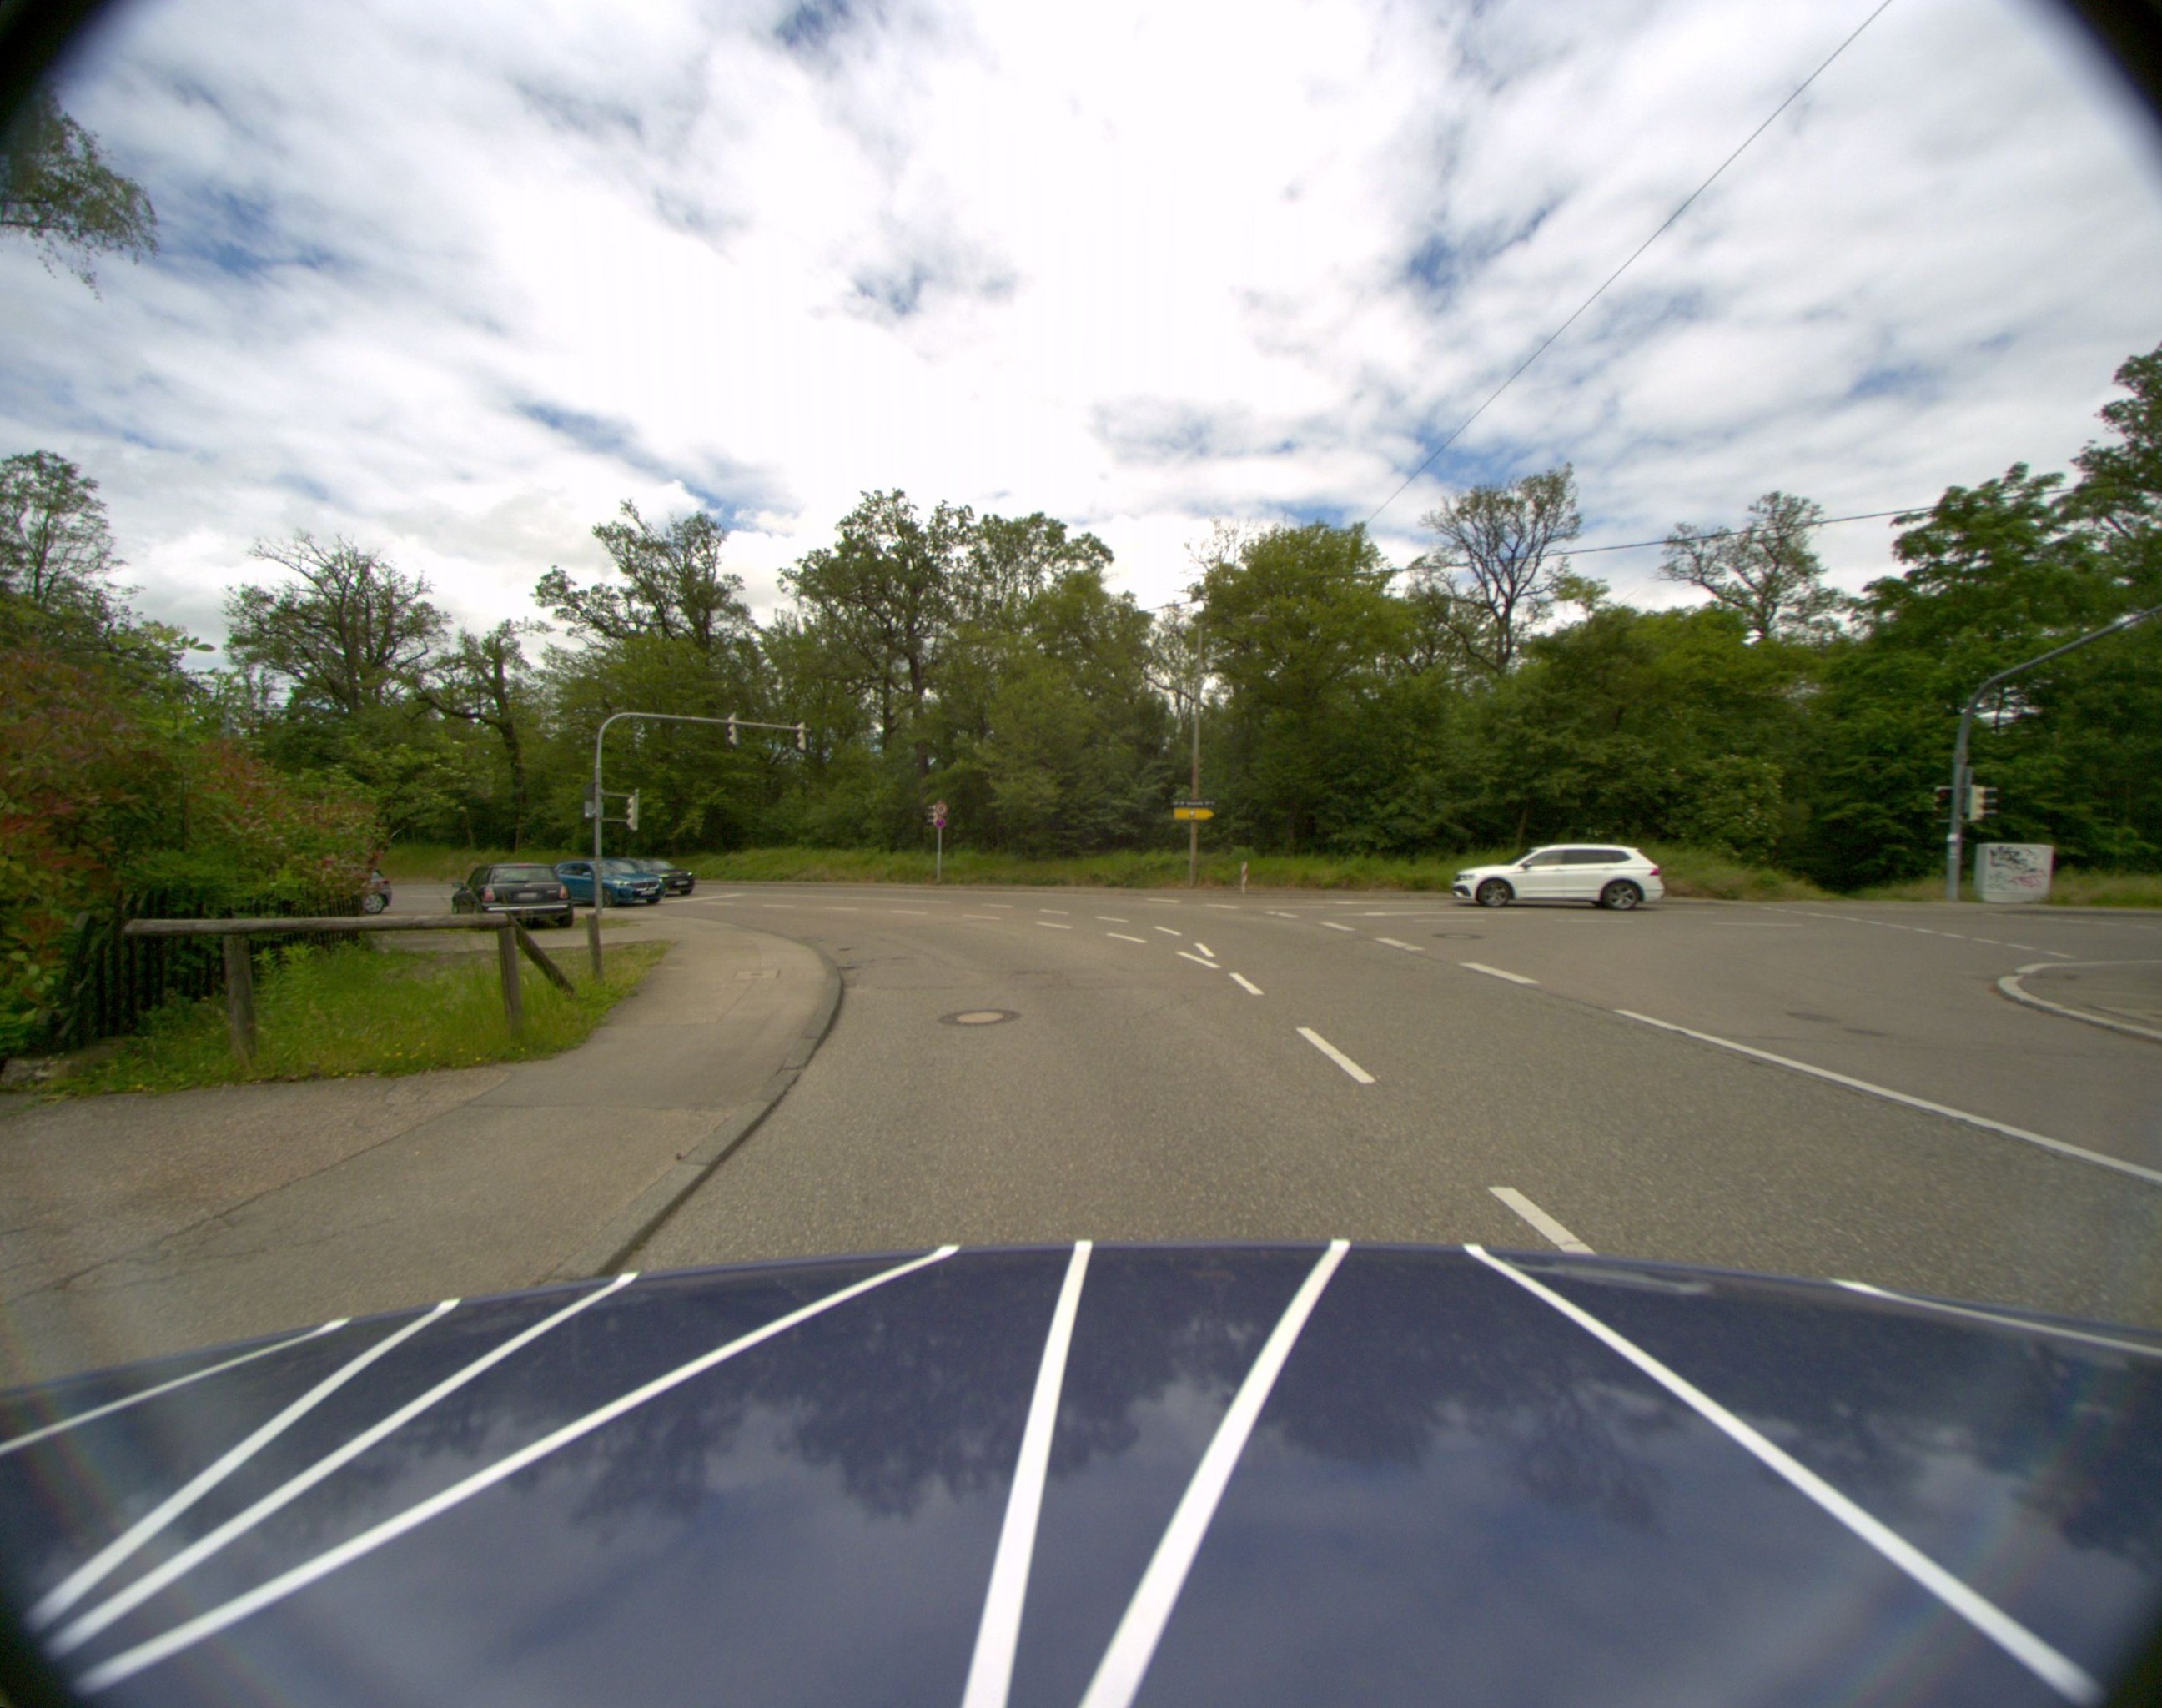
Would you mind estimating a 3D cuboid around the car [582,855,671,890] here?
[{"bbox_3d":[-21.750,0.852,36.359,3.798,1.502,1.826,0,2,27],"label":"car"}]

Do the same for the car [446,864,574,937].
[{"bbox_3d":[-12.581,0.932,16.680,3.594,1.382,1.660,0,0,43],"label":"car"}]

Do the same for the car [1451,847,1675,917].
[{"bbox_3d":[12.368,0.666,19.904,4.642,1.618,1.867,1,1,21],"label":"car"}]

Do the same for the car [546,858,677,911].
[{"bbox_3d":[-16.345,0.998,26.456,3.990,1.569,1.918,0,4,24],"label":"car"}]

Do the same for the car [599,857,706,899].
[{"bbox_3d":[-17.095,0.904,30.310,3.989,1.499,1.740,0,3,27],"label":"car"}]
